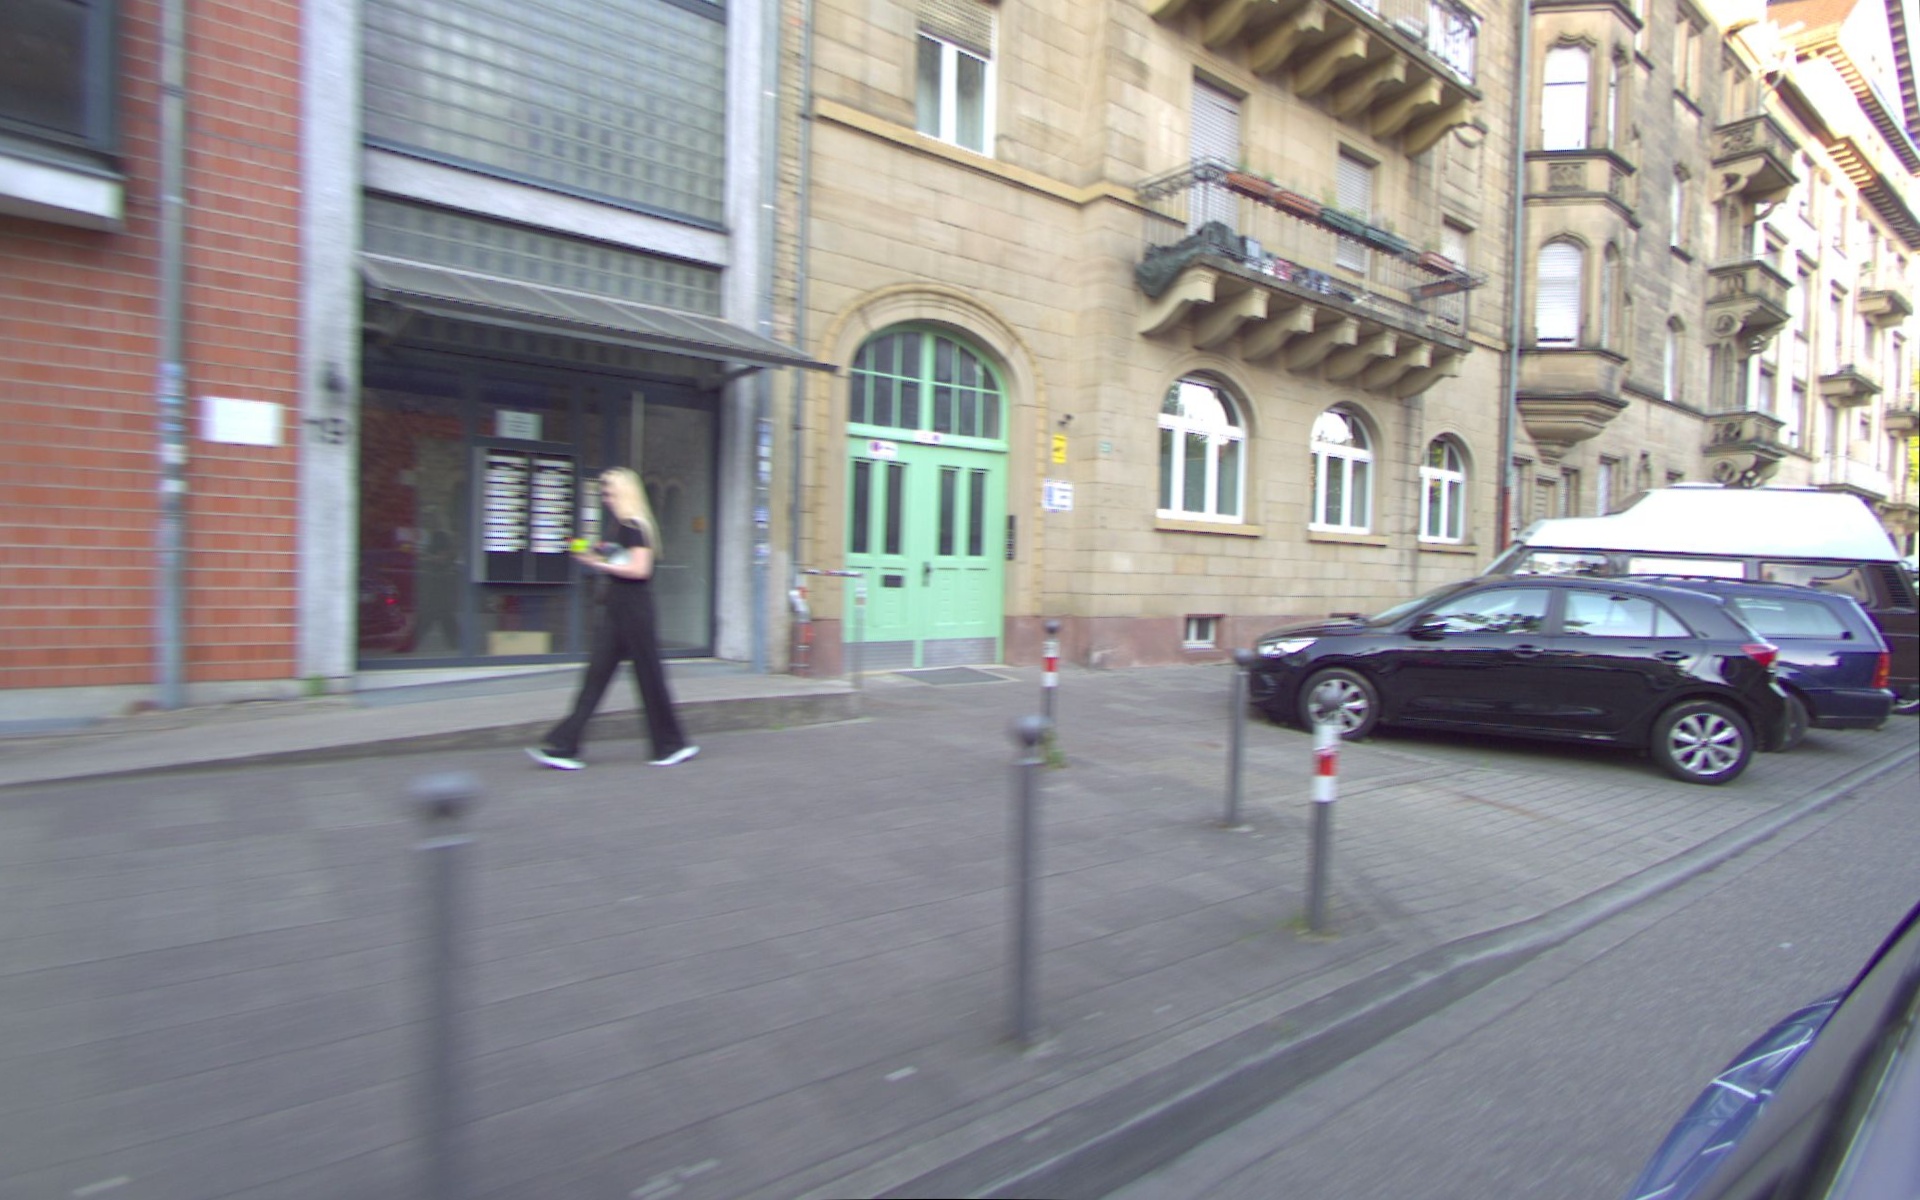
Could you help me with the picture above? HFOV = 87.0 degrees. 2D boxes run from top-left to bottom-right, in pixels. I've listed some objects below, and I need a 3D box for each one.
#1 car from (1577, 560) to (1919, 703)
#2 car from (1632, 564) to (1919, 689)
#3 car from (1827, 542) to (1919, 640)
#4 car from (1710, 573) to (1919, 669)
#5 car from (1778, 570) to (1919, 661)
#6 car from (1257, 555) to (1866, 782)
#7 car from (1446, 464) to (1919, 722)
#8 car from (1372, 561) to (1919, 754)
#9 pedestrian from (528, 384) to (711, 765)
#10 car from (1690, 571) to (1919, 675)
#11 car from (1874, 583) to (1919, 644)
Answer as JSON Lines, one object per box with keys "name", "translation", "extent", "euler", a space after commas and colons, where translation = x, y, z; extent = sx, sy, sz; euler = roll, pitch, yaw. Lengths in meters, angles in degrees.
{"name": "car", "translation": [10.812, 0.361, 13.209], "extent": [4.349, 1.504, 1.831], "euler": [4, 3, 22]}
{"name": "car", "translation": [12.701, 0.340, 15.148], "extent": [4.079, 1.564, 1.781], "euler": [3, 5, 25]}
{"name": "car", "translation": [28.035, -0.190, 27.855], "extent": [5.794, 2.581, 2.190], "euler": [3, 4, 12]}
{"name": "car", "translation": [16.646, 0.380, 18.706], "extent": [4.004, 1.516, 1.745], "euler": [4, 3, 17]}
{"name": "car", "translation": [19.194, 0.351, 20.115], "extent": [4.040, 1.626, 1.809], "euler": [4, 3, 15]}
{"name": "car", "translation": [4.685, 0.424, 8.566], "extent": [4.022, 1.510, 1.712], "euler": [2, 2, 22]}
{"name": "car", "translation": [8.325, -0.155, 11.738], "extent": [4.673, 2.578, 1.904], "euler": [2, 2, 24]}
{"name": "car", "translation": [6.474, 0.422, 10.075], "extent": [4.311, 1.521, 1.897], "euler": [2, 2, 25]}
{"name": "pedestrian", "translation": [-1.992, -0.147, 5.923], "extent": [0.842, 2.038, 0.609], "euler": [0, 2, -37]}
{"name": "car", "translation": [14.969, 0.384, 16.918], "extent": [3.983, 1.448, 1.858], "euler": [4, 4, 18]}
{"name": "car", "translation": [26.360, 0.440, 25.639], "extent": [4.193, 1.470, 1.992], "euler": [3, 3, 14]}
